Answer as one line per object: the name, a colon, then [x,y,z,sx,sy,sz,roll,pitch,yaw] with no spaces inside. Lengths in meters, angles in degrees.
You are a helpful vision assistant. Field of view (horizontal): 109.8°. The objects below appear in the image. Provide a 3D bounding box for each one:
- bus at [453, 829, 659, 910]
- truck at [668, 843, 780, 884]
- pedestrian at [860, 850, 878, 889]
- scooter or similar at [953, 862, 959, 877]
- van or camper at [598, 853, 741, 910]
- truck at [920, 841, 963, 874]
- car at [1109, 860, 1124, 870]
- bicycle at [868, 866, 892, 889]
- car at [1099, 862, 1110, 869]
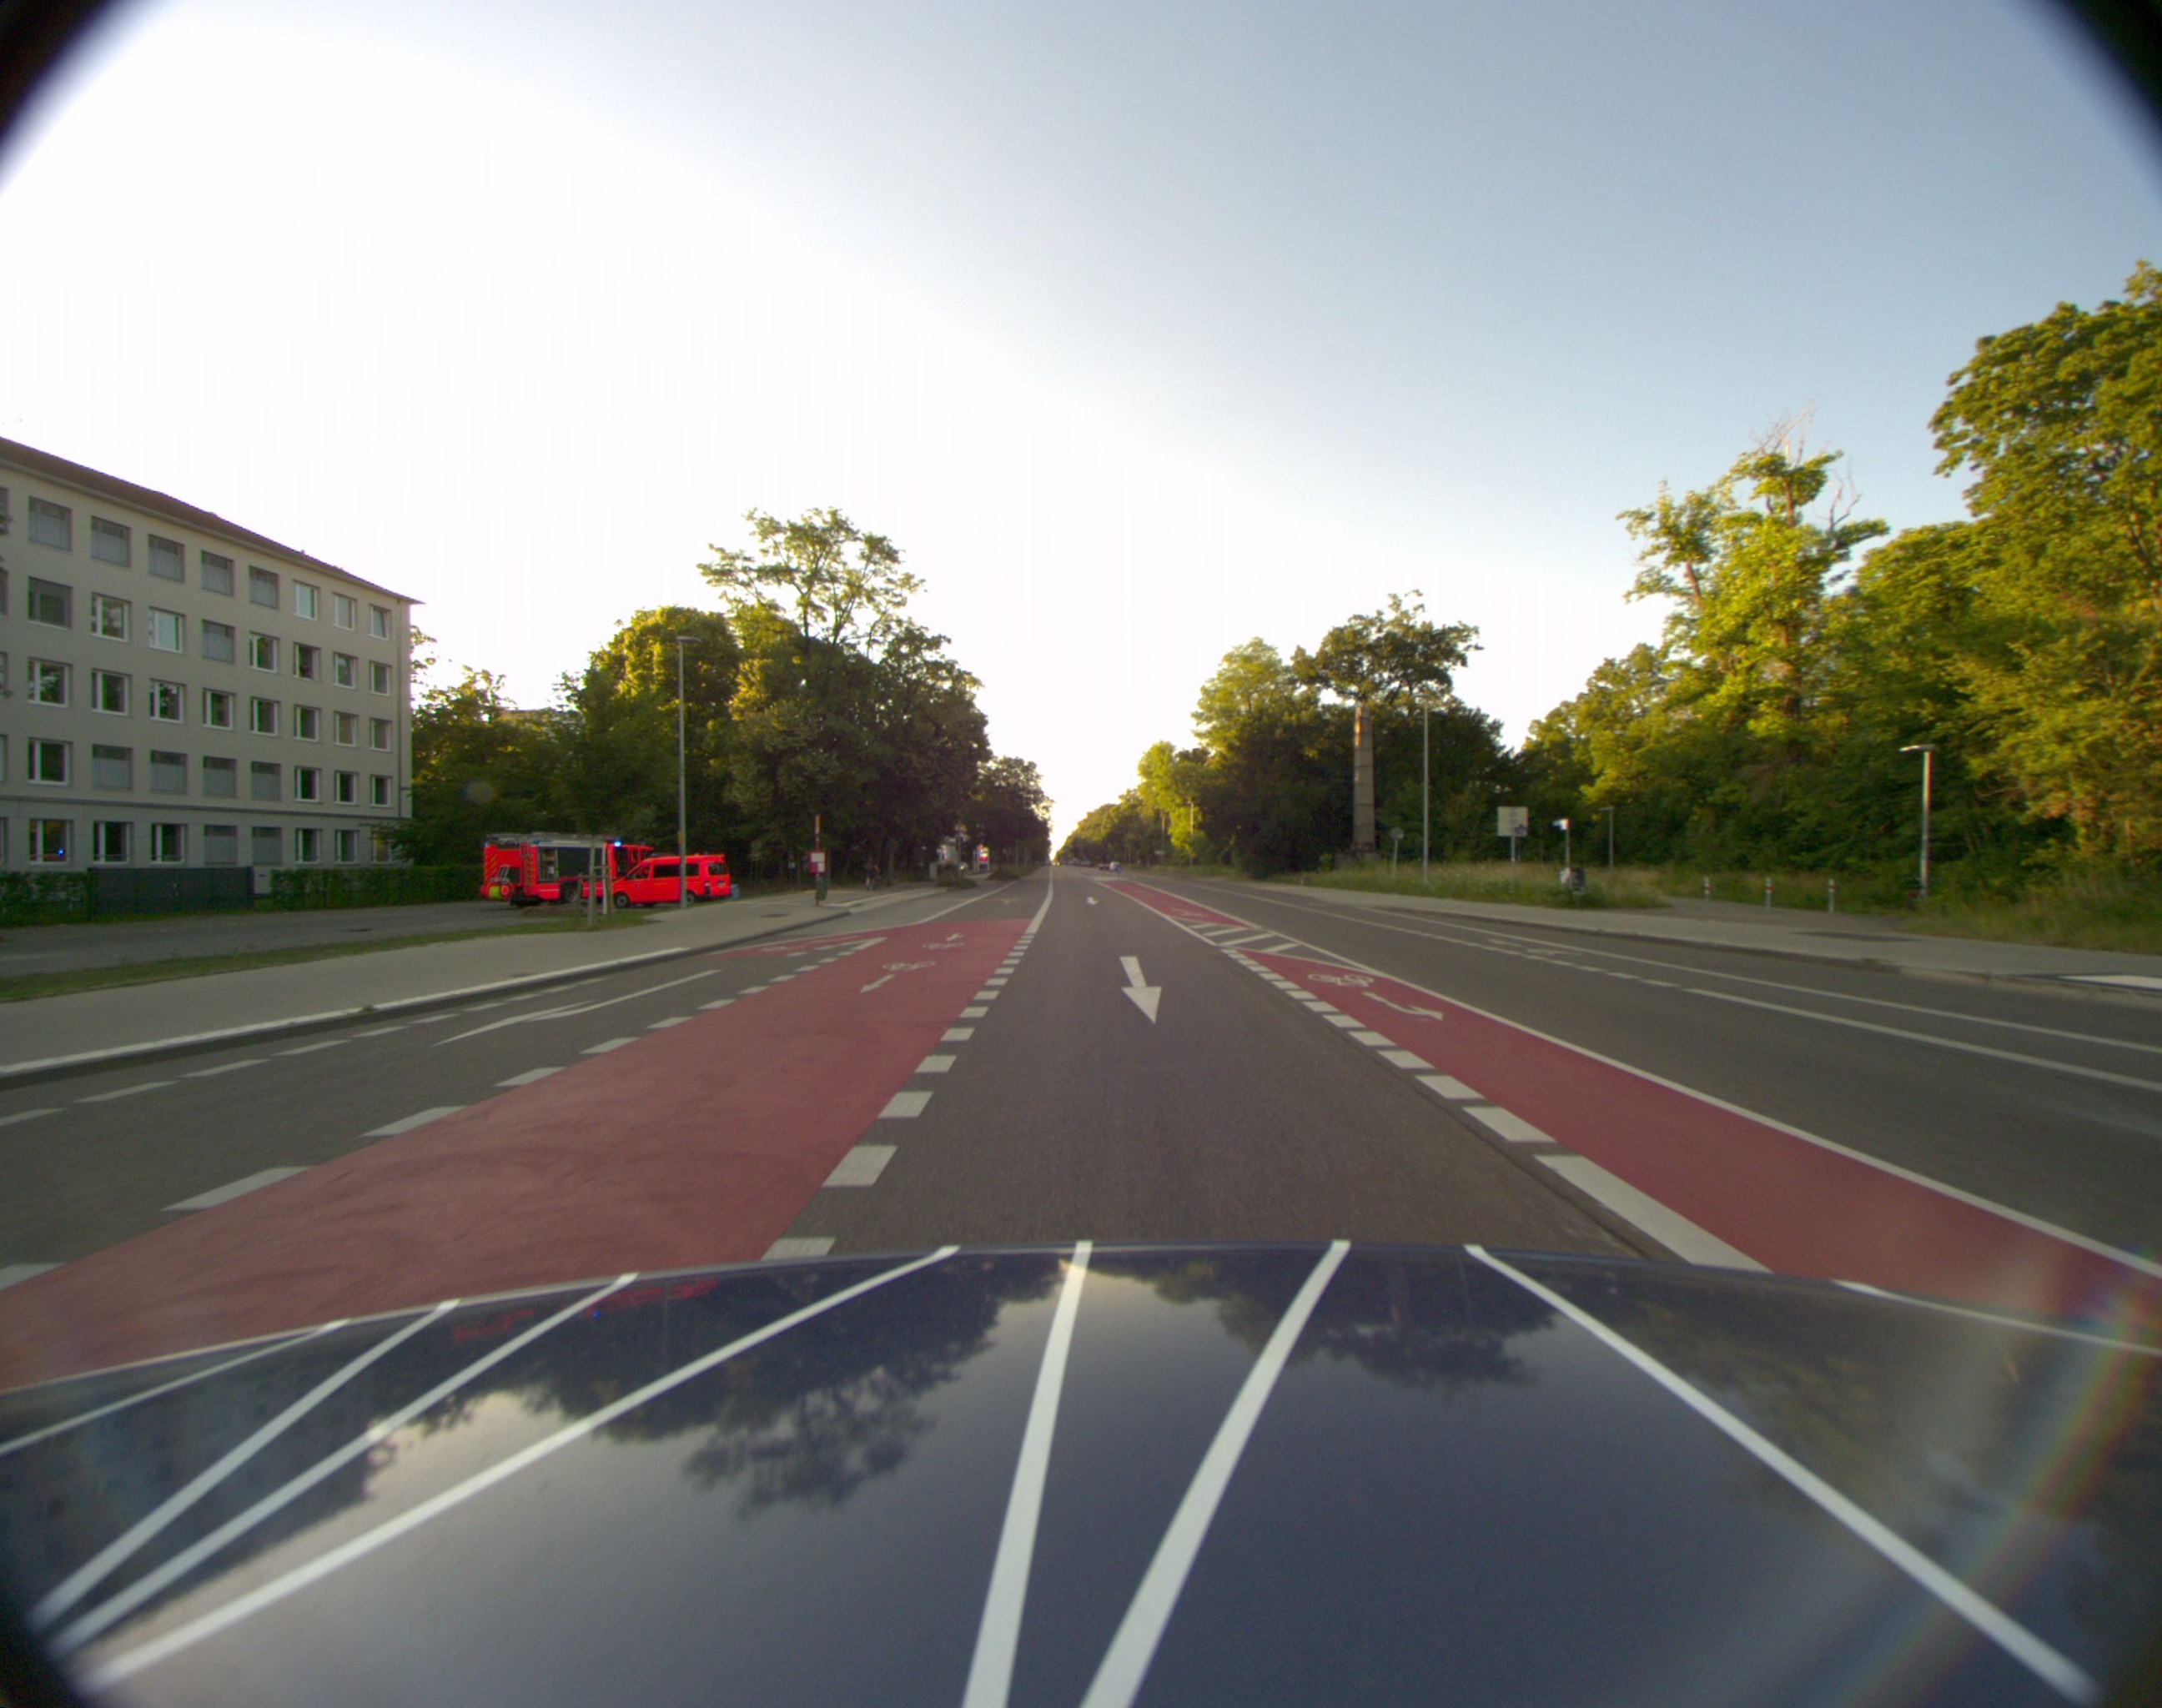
bus: [-23.437,0.625,34.659,2.993,3.177,7.969,-2,0,9]
truck: [-28.998,0.789,61.753,8.645,3.192,2.765,-1,0,18]
pedestrian: [-10.891,0.789,39.102,0.725,2.002,0.695,0,0,-1]
scooter or similar: [-11.310,1.391,68.920,0.483,1.274,1.230,1,0,-7]
van or camper: [-17.382,1.132,32.276,4.823,2.231,2.296,-2,0,6]
truck: [-17.327,0.382,95.684,3.227,3.707,15.881,-2,0,-3]
car: [5.613,1.775,120.135,1.851,1.405,4.180,-3,-1,-2]
bicycle: [-10.413,1.205,39.407,0.833,1.091,1.968,-3,0,-5]
car: [4.217,2.049,138.116,1.754,1.299,3.999,0,0,-1]
